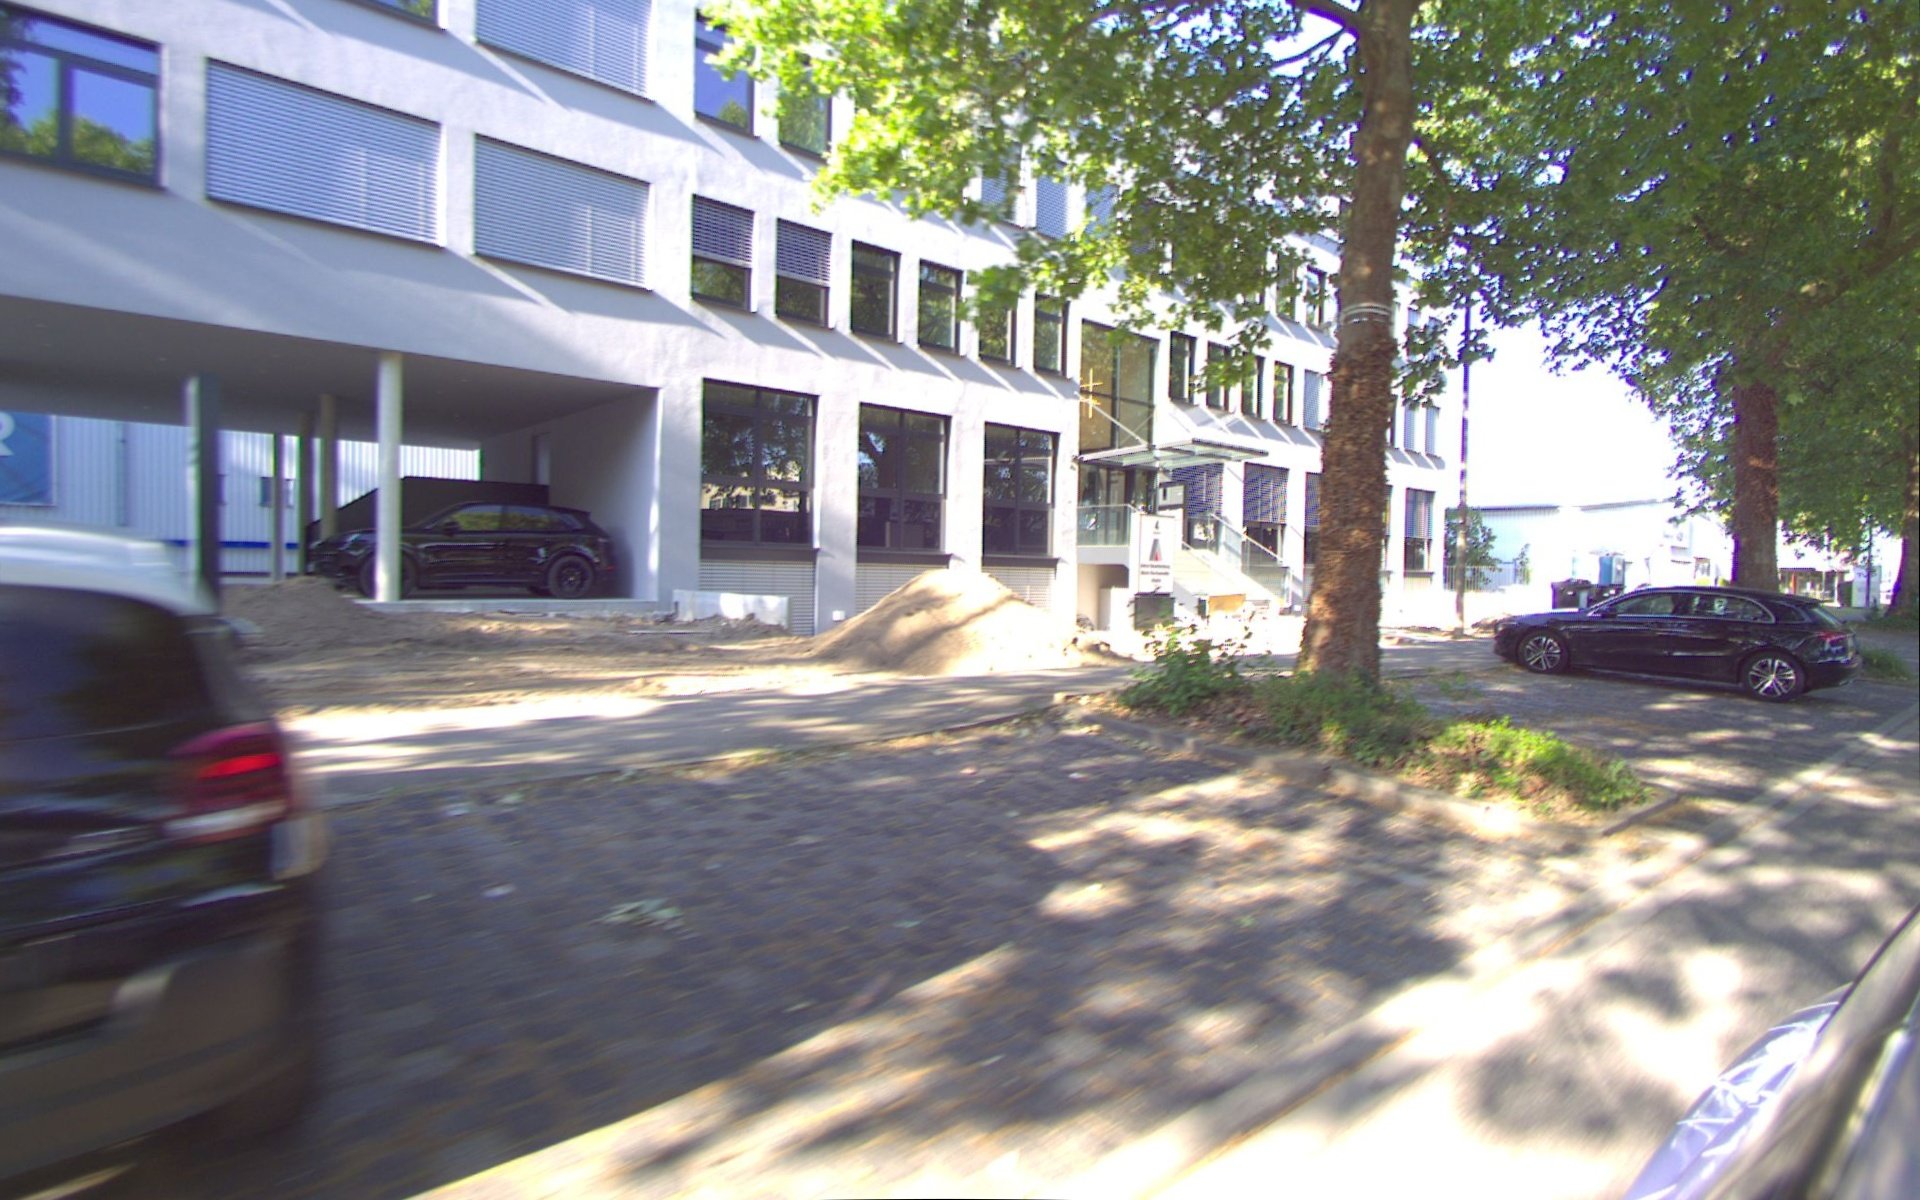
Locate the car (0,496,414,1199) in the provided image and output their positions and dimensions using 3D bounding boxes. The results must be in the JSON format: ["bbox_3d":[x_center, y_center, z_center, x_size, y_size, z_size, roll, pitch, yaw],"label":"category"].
[{"bbox_3d":[-3.109,0.473,2.961,1.829,1.503,3.793,-1,6,-42],"label":"car"}]

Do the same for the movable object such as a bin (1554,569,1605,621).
[{"bbox_3d":[16.877,-0.149,27.556,1.592,1.367,0.749,-1,1,-41],"label":"movable object such as a bin"}]

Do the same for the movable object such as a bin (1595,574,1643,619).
[{"bbox_3d":[19.021,-0.115,29.194,1.583,1.279,0.749,-1,1,-41],"label":"movable object such as a bin"}]

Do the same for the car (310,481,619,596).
[{"bbox_3d":[-8.542,-0.982,17.602,4.580,1.753,2.000,-1,1,-36],"label":"car"}]

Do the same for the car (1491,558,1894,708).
[{"bbox_3d":[10.263,0.319,14.461,1.829,1.503,4.294,-1,6,-42],"label":"car"}]

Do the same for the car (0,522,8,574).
[{"bbox_3d":[-27.113,-1.351,25.867,3.930,1.349,1.873,-1,1,-41],"label":"car"}]
